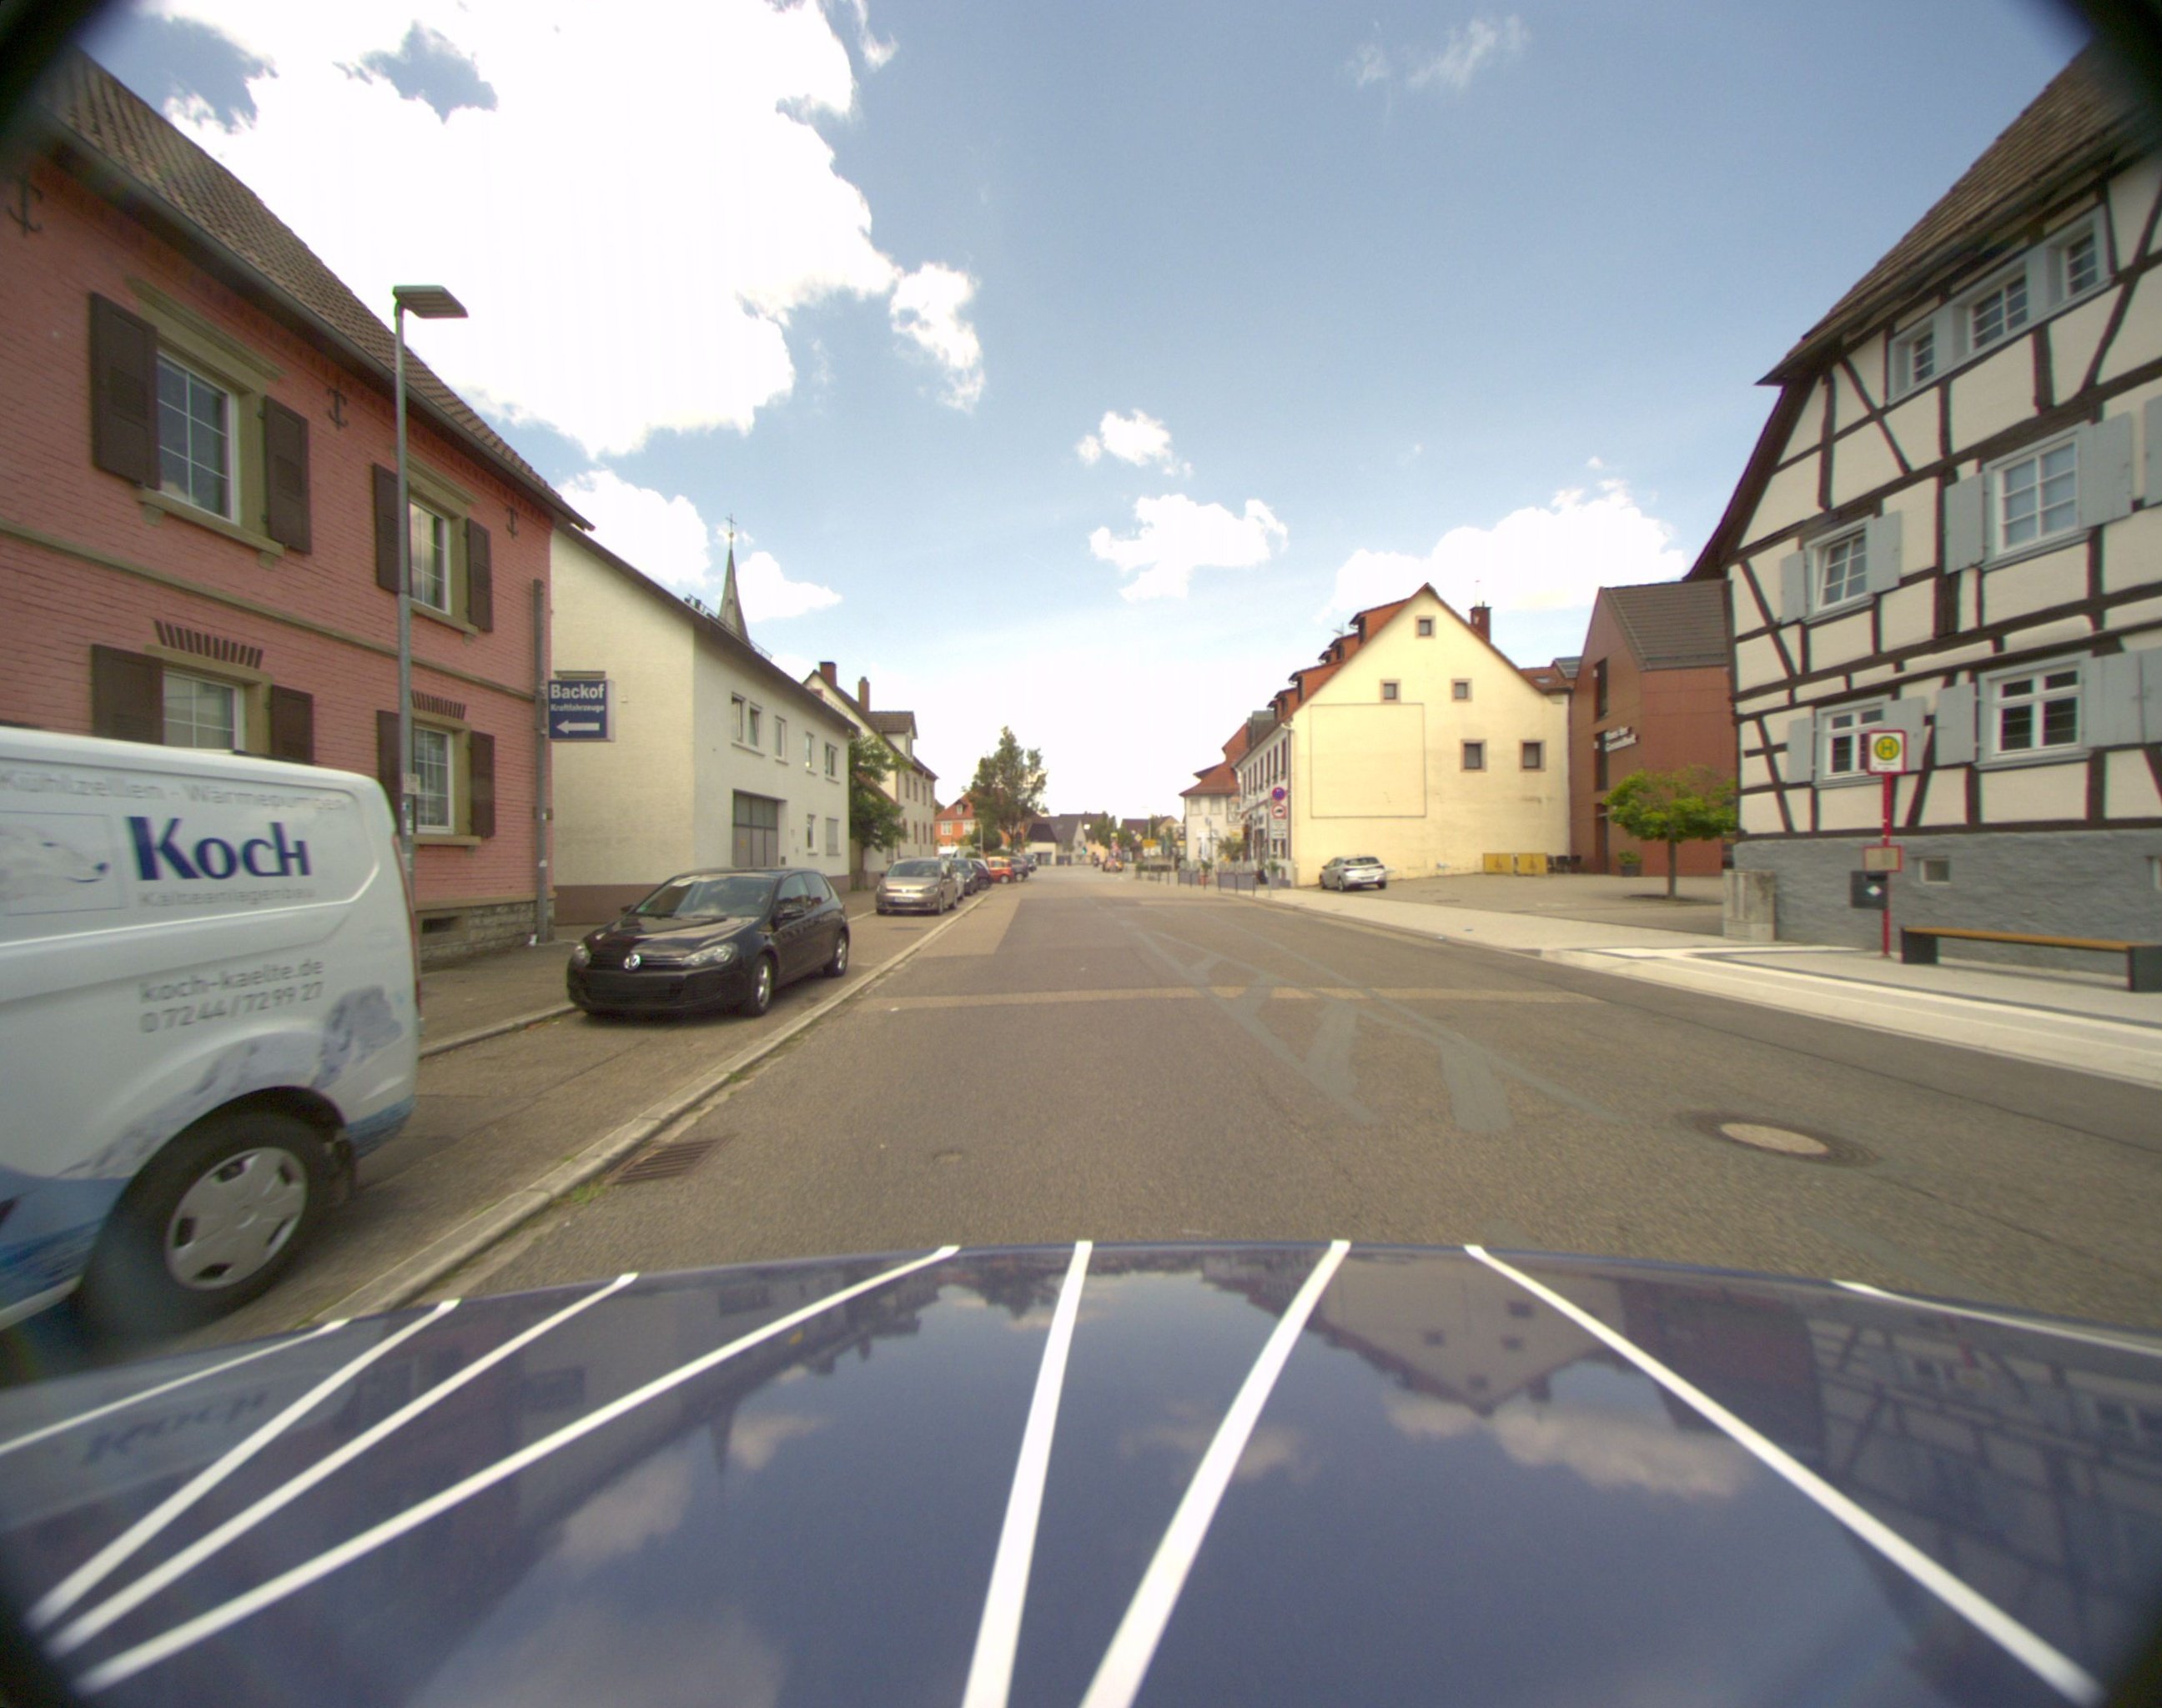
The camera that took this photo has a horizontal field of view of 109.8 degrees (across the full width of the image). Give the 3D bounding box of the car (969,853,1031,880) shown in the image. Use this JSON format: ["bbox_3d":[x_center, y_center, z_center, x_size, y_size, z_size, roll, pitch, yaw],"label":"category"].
[{"bbox_3d":[-5.132,0.784,48.503,3.860,1.569,1.849,1,3,-5],"label":"car"}]

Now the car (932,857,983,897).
[{"bbox_3d":[-5.315,0.935,33.188,1.667,1.615,4.271,0,0,-2],"label":"car"}]

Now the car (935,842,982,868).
[{"bbox_3d":[-14.491,0.026,90.678,2.756,2.946,7.122,1,1,16],"label":"car"}]

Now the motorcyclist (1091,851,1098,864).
[{"bbox_3d":[2.151,0.573,117.813,1.048,1.935,1.248,0,1,2],"label":"motorcyclist"}]

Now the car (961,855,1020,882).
[{"bbox_3d":[-5.452,0.876,46.116,3.386,1.568,1.726,1,0,-1],"label":"car"}]

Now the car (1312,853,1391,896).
[{"bbox_3d":[11.200,0.799,31.762,1.762,1.484,4.276,-5,1,1],"label":"car"}]

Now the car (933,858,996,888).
[{"bbox_3d":[-6.058,0.947,39.448,2.791,1.496,1.874,0,0,-25],"label":"car"}]

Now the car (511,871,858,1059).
[{"bbox_3d":[-4.007,1.002,8.585,1.779,1.486,4.161,1,0,-1],"label":"car"}]

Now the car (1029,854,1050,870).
[{"bbox_3d":[-4.178,0.799,76.974,1.773,1.555,4.418,2,0,1],"label":"car"}]

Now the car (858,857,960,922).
[{"bbox_3d":[-4.785,0.920,21.824,1.999,1.671,4.322,0,0,-1],"label":"car"}]

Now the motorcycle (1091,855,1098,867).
[{"bbox_3d":[2.090,1.072,117.974,1.133,1.609,4.000,0,1,2],"label":"motorcycle"}]

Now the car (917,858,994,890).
[{"bbox_3d":[-6.063,0.968,36.773,3.242,1.496,1.822,1,0,-28],"label":"car"}]

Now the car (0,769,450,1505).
[{"bbox_3d":[-3.785,0.734,0.985,1.897,1.970,4.929,2,0,-2],"label":"car"}]

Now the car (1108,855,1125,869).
[{"bbox_3d":[3.804,0.807,82.146,1.672,1.466,3.963,0,0,1],"label":"car"}]

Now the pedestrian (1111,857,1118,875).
[{"bbox_3d":[3.205,1.127,71.886,0.640,1.619,0.620,0,1,2],"label":"pedestrian"}]

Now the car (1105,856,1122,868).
[{"bbox_3d":[3.845,0.935,88.983,1.820,1.415,4.539,-1,0,4],"label":"car"}]

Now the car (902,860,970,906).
[{"bbox_3d":[-5.265,0.997,28.121,1.999,1.508,4.369,0,0,-5],"label":"car"}]

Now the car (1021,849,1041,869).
[{"bbox_3d":[-5.913,0.576,90.278,1.947,2.164,5.100,2,0,-1],"label":"car"}]
